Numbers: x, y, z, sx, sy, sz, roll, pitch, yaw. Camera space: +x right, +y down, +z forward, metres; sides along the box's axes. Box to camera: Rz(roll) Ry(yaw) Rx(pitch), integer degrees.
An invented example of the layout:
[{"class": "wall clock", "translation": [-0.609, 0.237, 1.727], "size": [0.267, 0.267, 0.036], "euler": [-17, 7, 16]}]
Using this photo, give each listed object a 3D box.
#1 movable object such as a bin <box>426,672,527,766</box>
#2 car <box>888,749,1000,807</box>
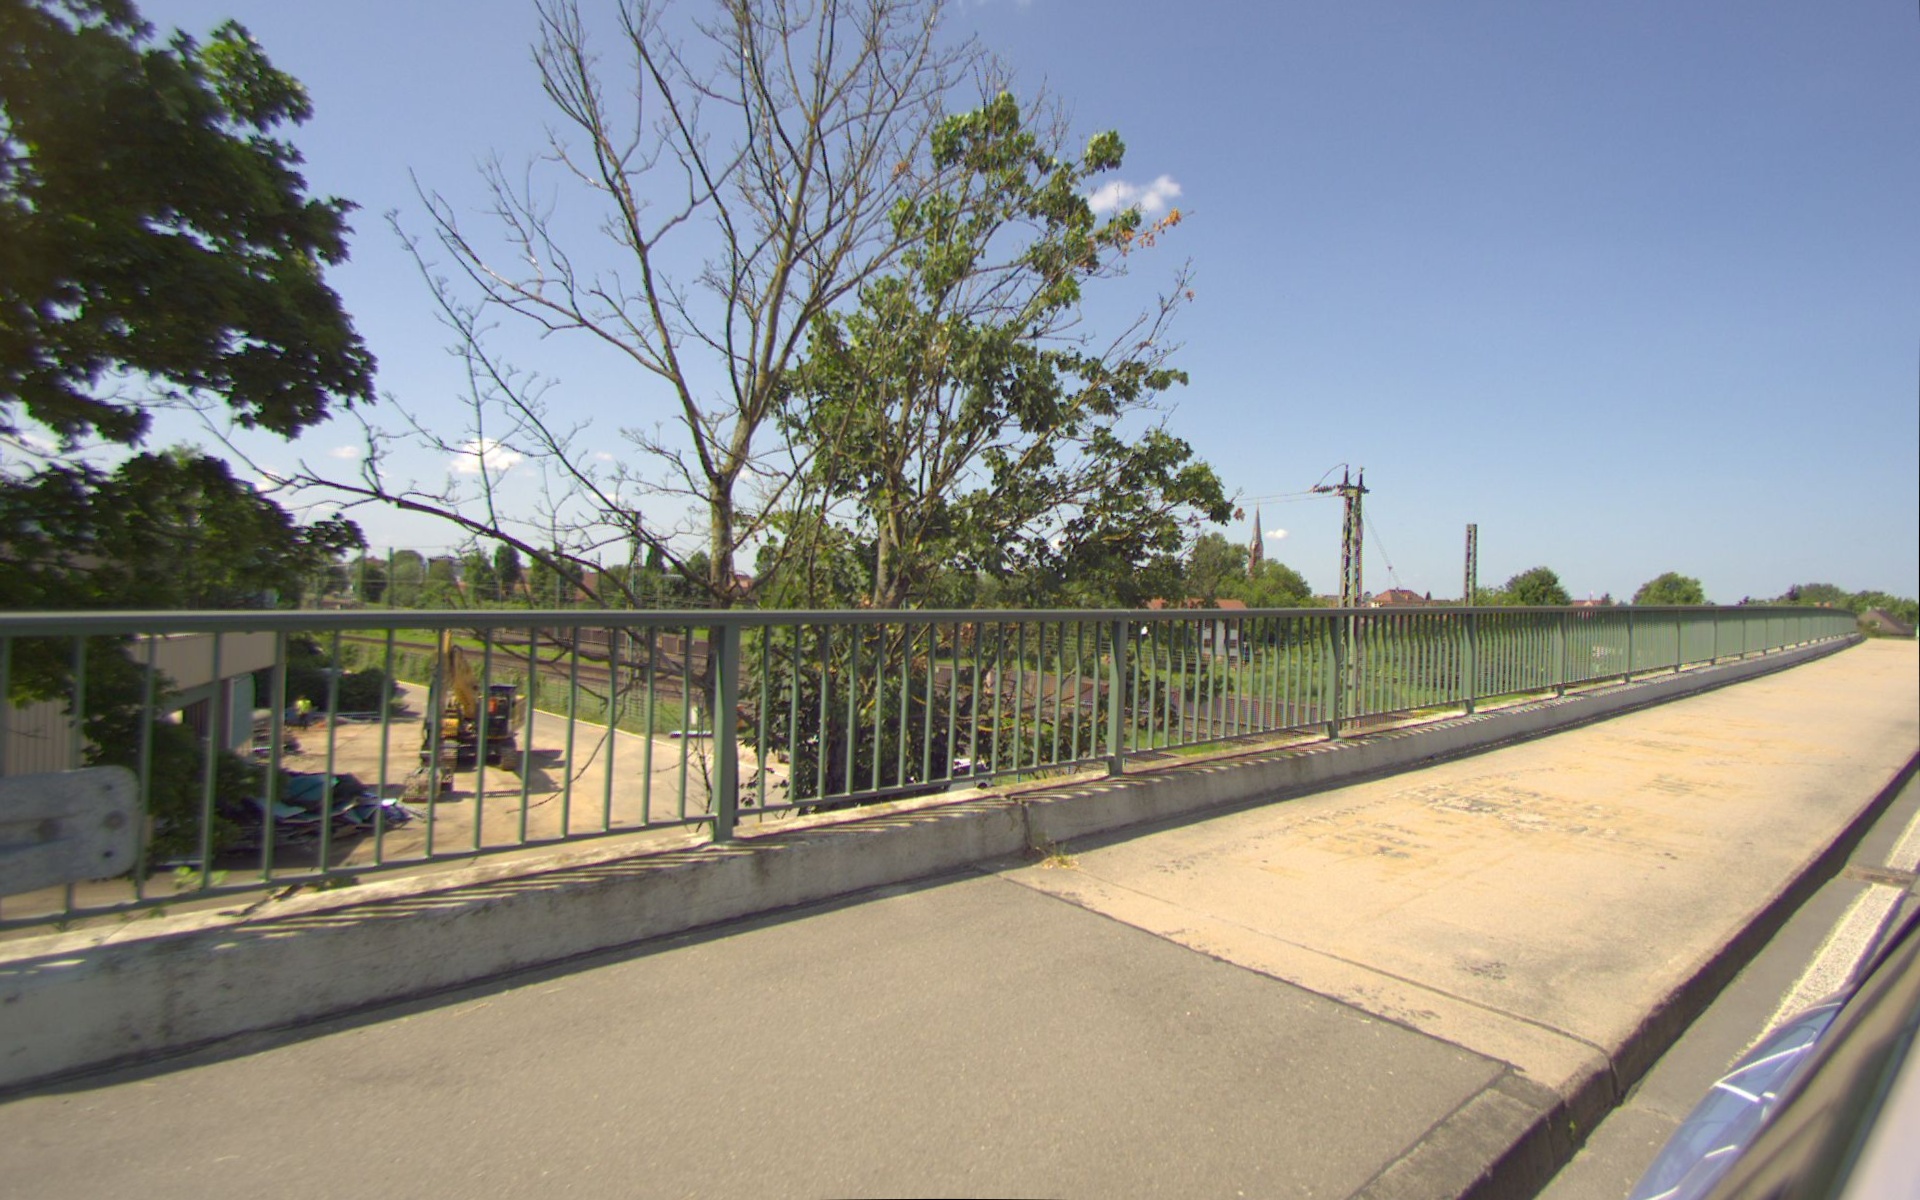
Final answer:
[{"class": "movable object such as a bin", "translation": [-21.212, 5.136, 44.744], "size": [3.179, 3.331, 6.237], "euler": [3, 0, -19]}, {"class": "car", "translation": [-0.581, 6.887, 39.434], "size": [4.174, 1.616, 1.994], "euler": [1, -4, -45]}]
